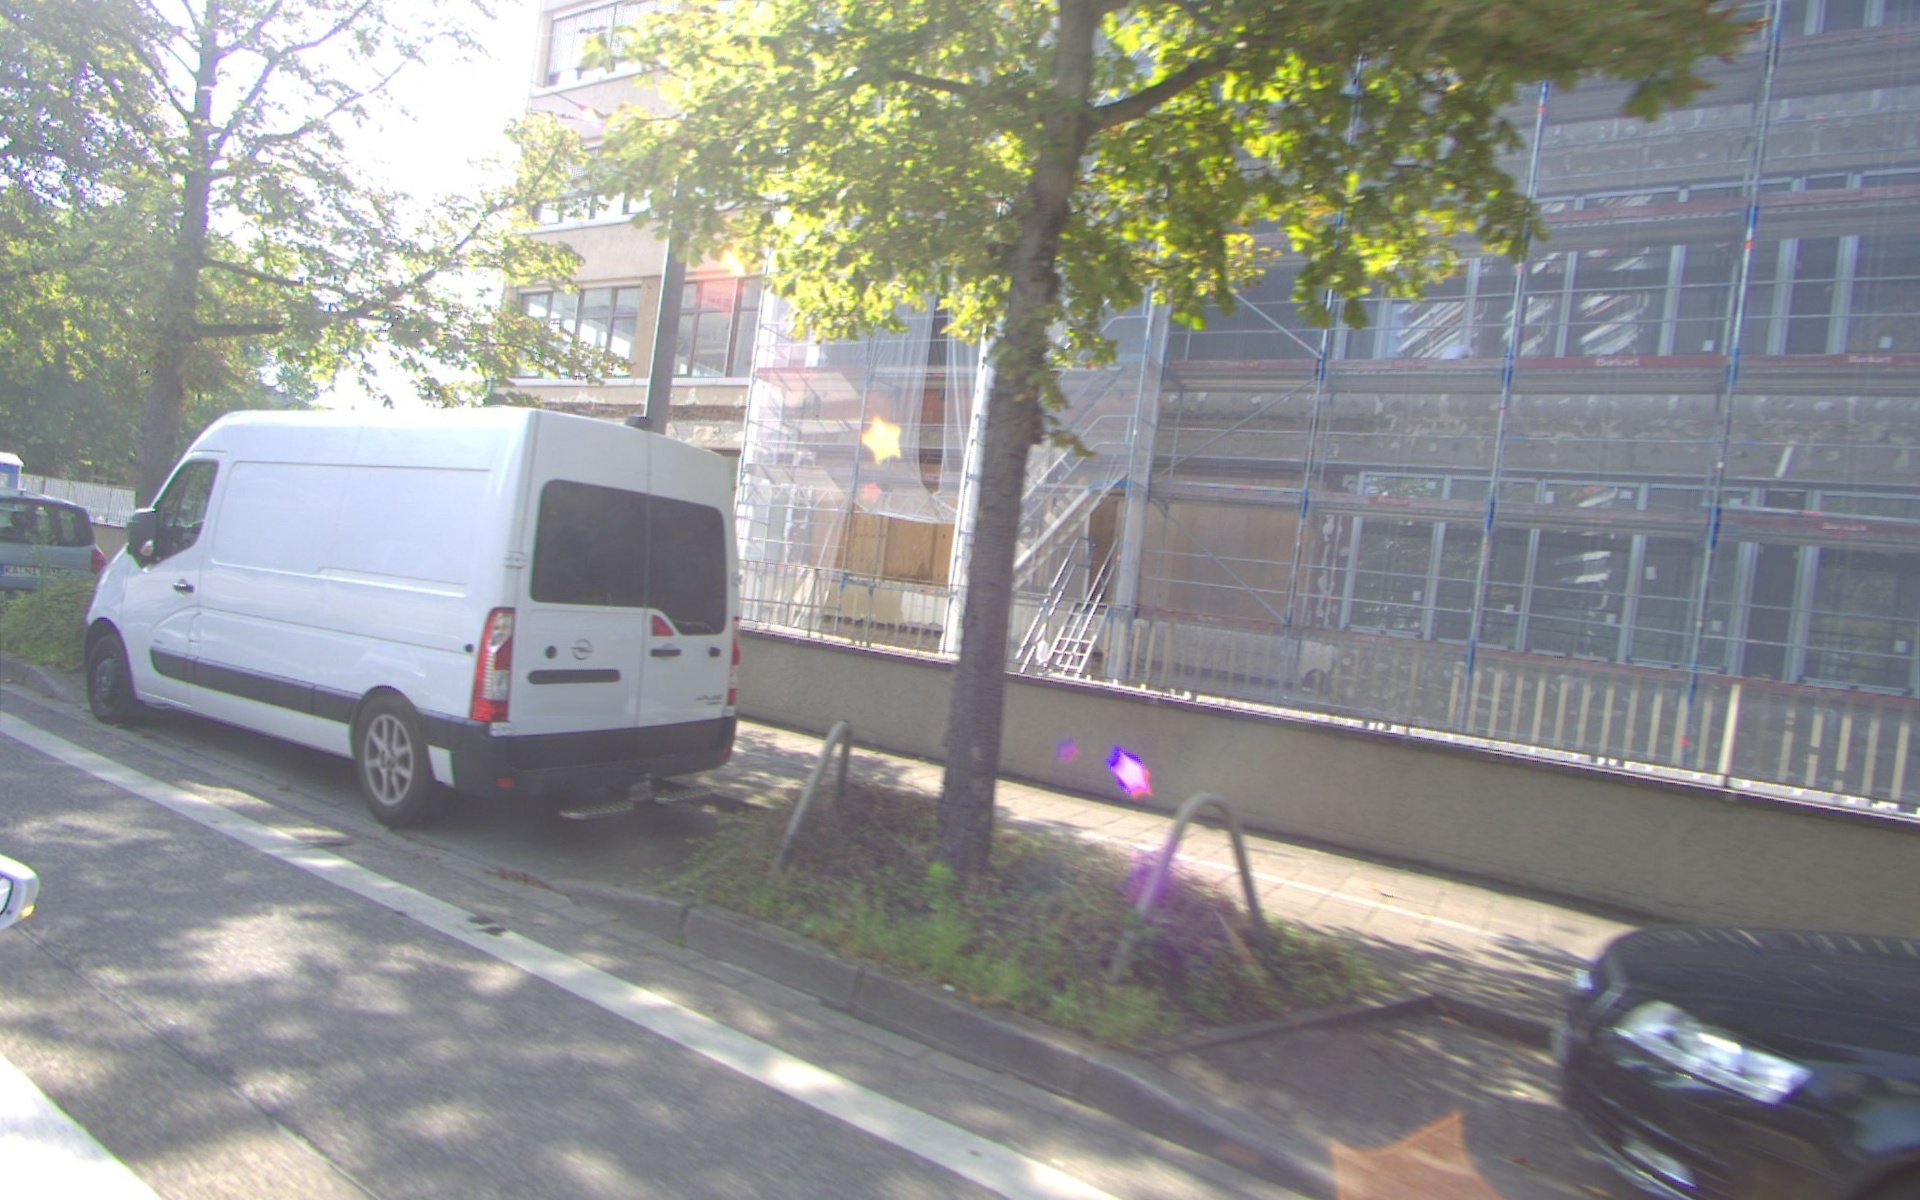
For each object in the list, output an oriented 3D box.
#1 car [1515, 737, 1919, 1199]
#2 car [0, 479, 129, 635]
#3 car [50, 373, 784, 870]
[{"bbox_3d":[4.100,1.468,2.361,4.746,1.391,1.619,7,0,31],"label":"car"},{"bbox_3d":[-11.970,-0.669,12.188,3.811,1.637,1.666,8,1,31],"label":"car"},{"bbox_3d":[-4.181,-0.143,7.424,5.407,2.587,2.083,7,3,29],"label":"car"}]
